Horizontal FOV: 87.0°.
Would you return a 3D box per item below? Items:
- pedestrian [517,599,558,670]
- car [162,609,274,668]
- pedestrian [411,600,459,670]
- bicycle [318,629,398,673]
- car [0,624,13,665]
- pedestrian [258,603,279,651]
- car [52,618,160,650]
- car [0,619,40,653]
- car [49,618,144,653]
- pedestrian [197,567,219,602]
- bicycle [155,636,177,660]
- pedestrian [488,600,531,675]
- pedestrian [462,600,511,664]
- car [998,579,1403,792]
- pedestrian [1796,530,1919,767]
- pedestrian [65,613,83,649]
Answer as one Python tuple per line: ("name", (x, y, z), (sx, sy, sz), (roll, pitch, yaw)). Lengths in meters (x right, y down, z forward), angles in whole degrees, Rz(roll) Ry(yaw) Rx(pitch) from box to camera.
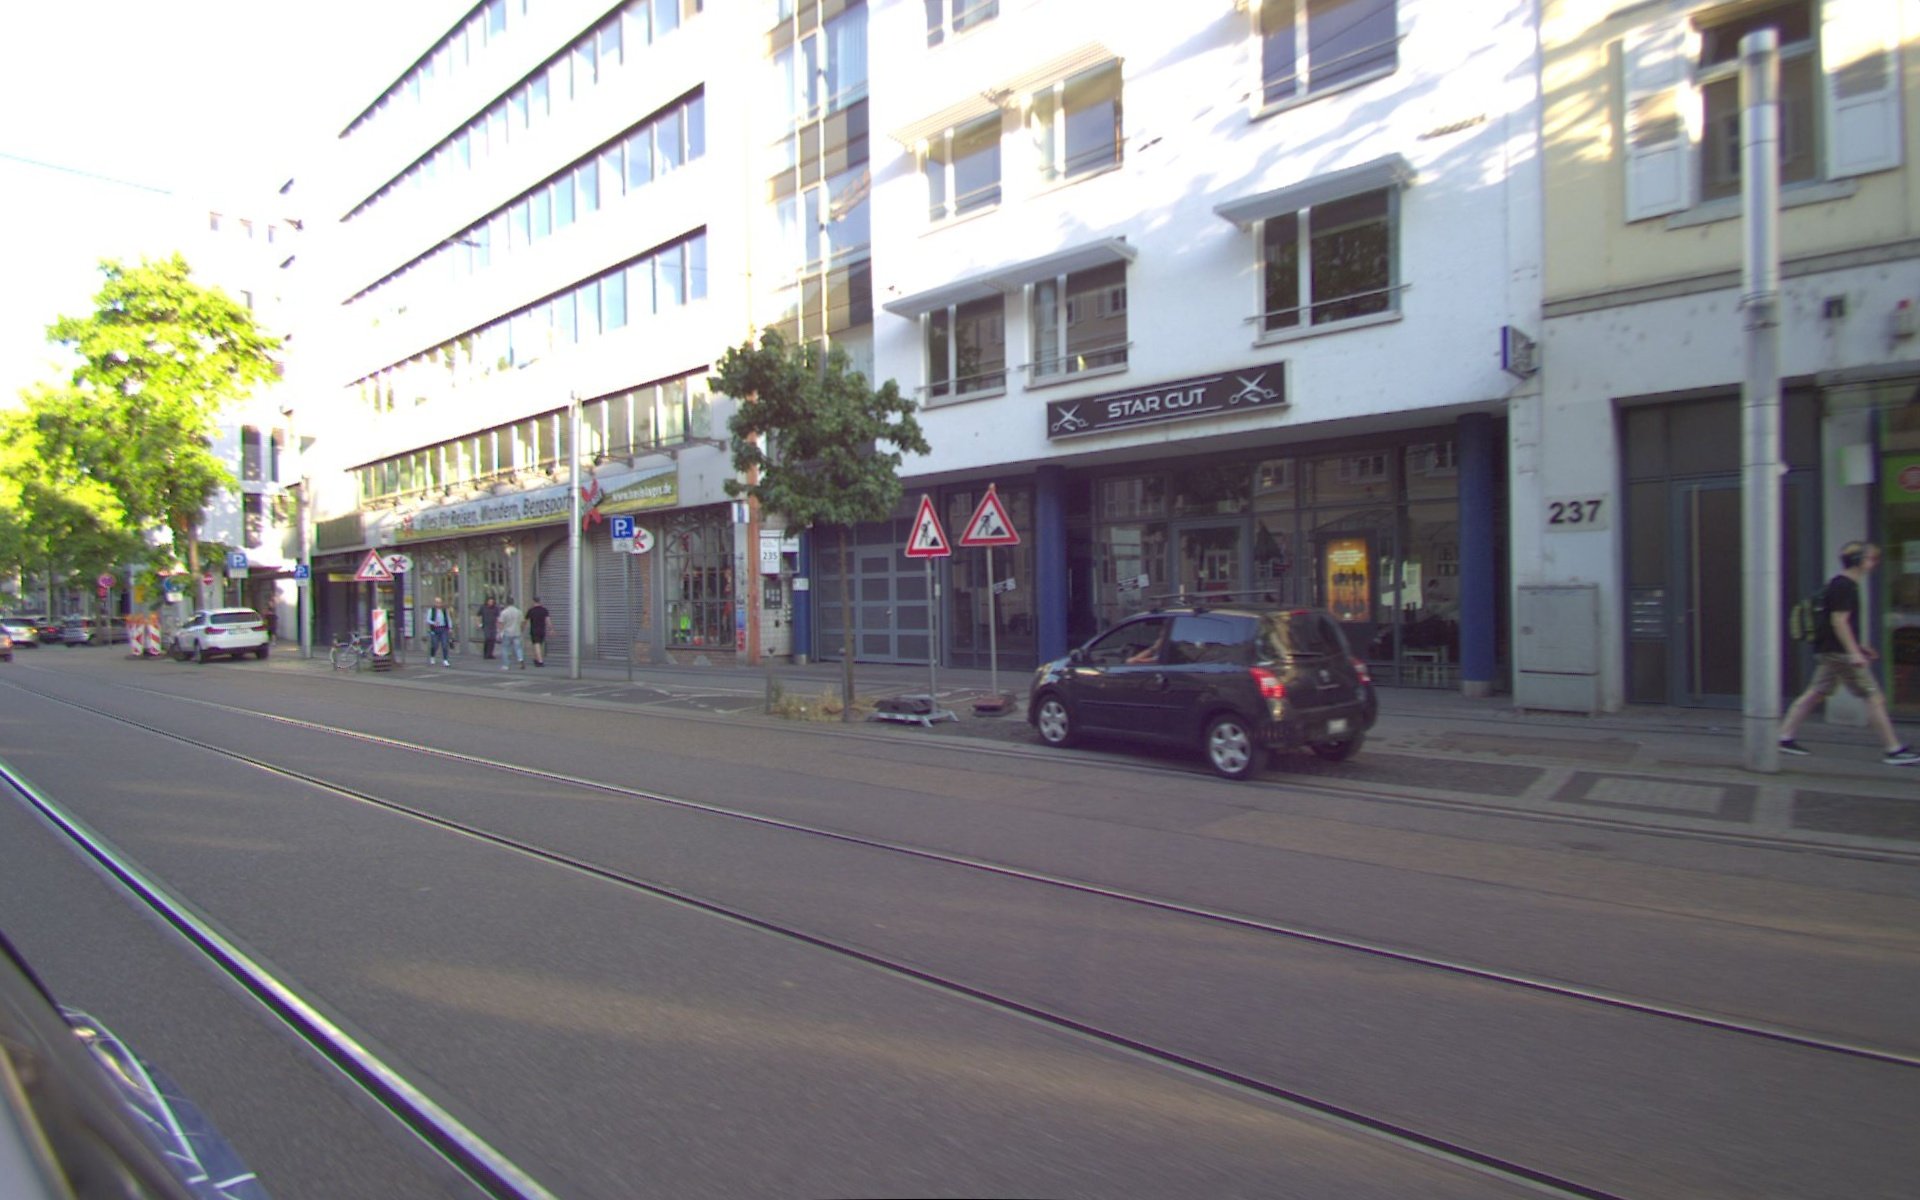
("pedestrian", (-10.469, 0.844, 25.087), (0.808, 1.725, 0.620), (-2, 1, 45))
("car", (-25.103, 1.267, 34.164), (4.741, 1.767, 1.973), (-2, 1, 41))
("pedestrian", (-13.552, 0.892, 26.124), (0.831, 1.779, 0.842), (-2, -1, 38))
("bicycle", (-16.132, 1.354, 27.139), (1.724, 0.999, 0.479), (-5, 2, -42))
("car", (-34.863, 1.568, 35.664), (4.526, 1.418, 1.760), (-1, -1, 42))
("pedestrian", (-29.872, 1.155, 43.722), (0.592, 2.029, 0.608), (-2, -1, 40))
("car", (-47.090, 1.832, 55.935), (1.568, 1.423, 4.286), (-1, 2, 23))
("car", (-47.811, 1.808, 50.825), (4.198, 1.624, 1.865), (-2, -3, 41))
("car", (-45.386, 1.831, 53.290), (1.771, 1.571, 3.388), (-1, 2, 12))
("pedestrian", (-36.150, -0.727, 48.645), (0.611, 1.658, 0.716), (-2, -1, 43))
("bicycle", (-29.910, 1.792, 38.132), (0.496, 0.843, 1.536), (-4, 2, -43))
("pedestrian", (-10.793, 0.889, 24.236), (0.829, 1.725, 0.634), (-2, 1, 45))
("pedestrian", (-13.375, 0.898, 28.581), (1.037, 1.708, 0.824), (-2, 2, 41))
("car", (2.150, 0.689, 9.958), (1.608, 1.628, 3.718), (-3, 1, -34))
("pedestrian", (7.458, 0.368, 8.303), (0.878, 1.839, 0.653), (-2, 2, 41))
("pedestrian", (-49.252, 1.706, 56.257), (0.723, 1.948, 0.647), (-2, -1, 43))
